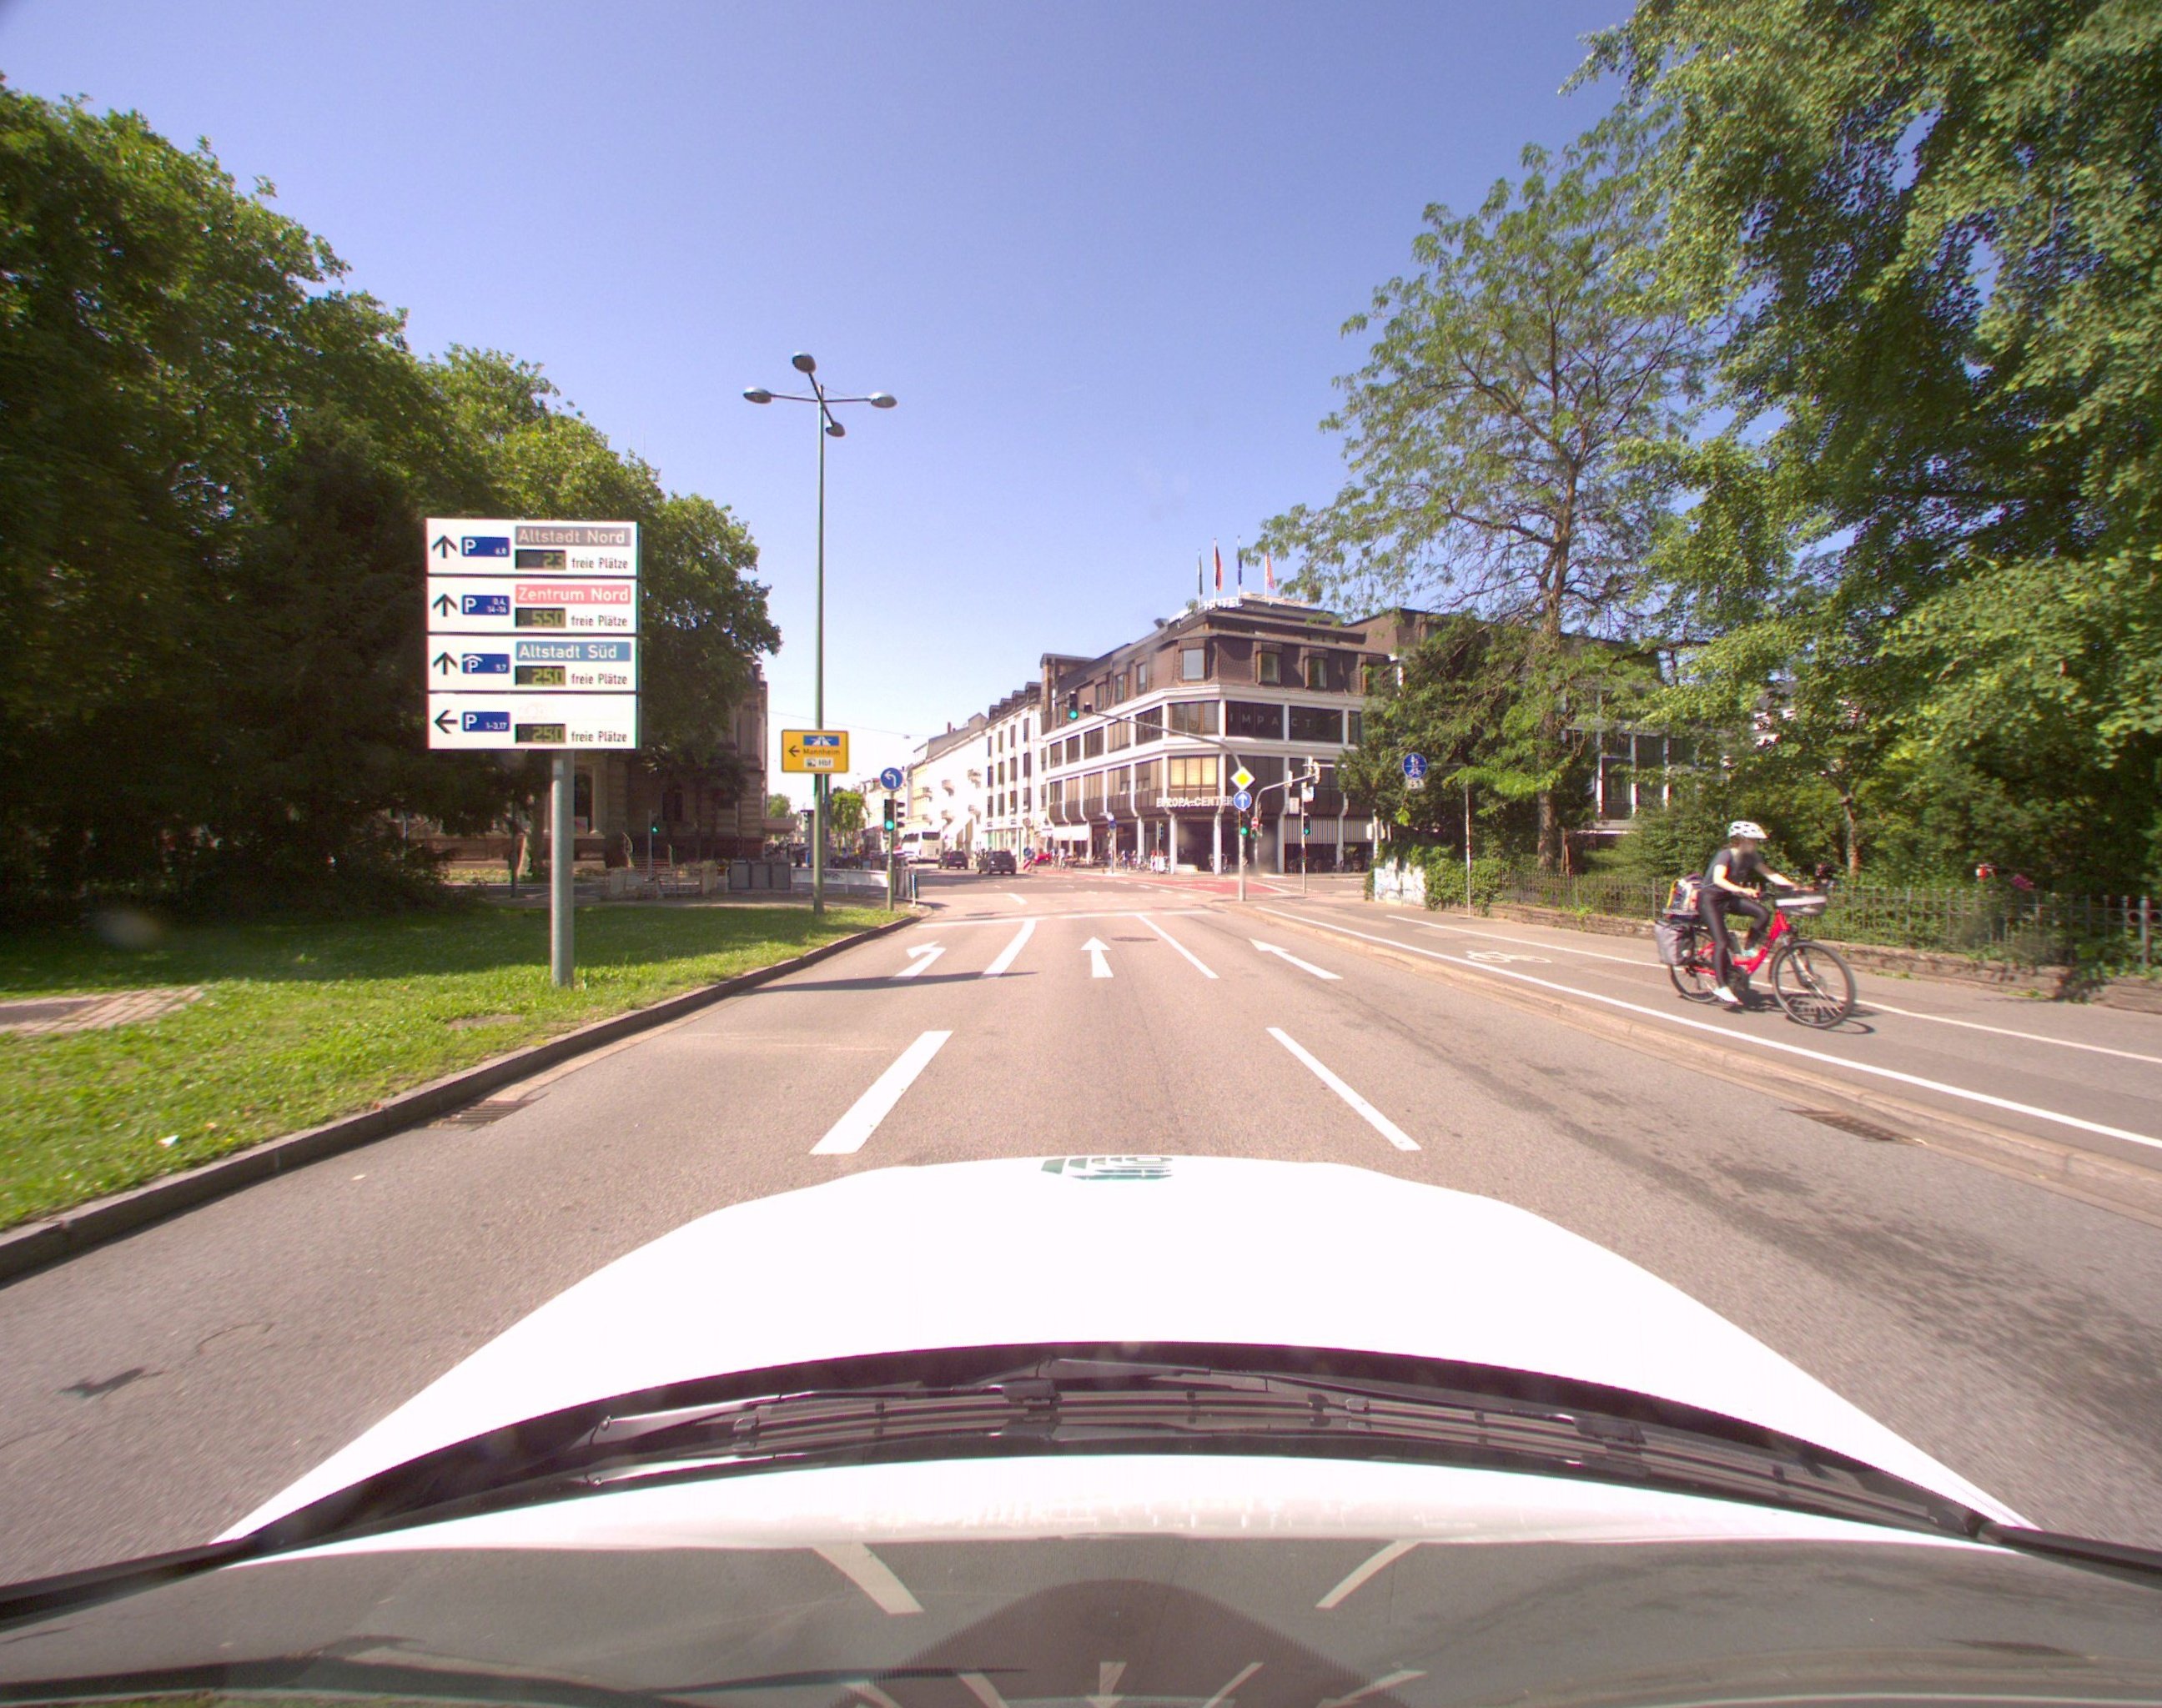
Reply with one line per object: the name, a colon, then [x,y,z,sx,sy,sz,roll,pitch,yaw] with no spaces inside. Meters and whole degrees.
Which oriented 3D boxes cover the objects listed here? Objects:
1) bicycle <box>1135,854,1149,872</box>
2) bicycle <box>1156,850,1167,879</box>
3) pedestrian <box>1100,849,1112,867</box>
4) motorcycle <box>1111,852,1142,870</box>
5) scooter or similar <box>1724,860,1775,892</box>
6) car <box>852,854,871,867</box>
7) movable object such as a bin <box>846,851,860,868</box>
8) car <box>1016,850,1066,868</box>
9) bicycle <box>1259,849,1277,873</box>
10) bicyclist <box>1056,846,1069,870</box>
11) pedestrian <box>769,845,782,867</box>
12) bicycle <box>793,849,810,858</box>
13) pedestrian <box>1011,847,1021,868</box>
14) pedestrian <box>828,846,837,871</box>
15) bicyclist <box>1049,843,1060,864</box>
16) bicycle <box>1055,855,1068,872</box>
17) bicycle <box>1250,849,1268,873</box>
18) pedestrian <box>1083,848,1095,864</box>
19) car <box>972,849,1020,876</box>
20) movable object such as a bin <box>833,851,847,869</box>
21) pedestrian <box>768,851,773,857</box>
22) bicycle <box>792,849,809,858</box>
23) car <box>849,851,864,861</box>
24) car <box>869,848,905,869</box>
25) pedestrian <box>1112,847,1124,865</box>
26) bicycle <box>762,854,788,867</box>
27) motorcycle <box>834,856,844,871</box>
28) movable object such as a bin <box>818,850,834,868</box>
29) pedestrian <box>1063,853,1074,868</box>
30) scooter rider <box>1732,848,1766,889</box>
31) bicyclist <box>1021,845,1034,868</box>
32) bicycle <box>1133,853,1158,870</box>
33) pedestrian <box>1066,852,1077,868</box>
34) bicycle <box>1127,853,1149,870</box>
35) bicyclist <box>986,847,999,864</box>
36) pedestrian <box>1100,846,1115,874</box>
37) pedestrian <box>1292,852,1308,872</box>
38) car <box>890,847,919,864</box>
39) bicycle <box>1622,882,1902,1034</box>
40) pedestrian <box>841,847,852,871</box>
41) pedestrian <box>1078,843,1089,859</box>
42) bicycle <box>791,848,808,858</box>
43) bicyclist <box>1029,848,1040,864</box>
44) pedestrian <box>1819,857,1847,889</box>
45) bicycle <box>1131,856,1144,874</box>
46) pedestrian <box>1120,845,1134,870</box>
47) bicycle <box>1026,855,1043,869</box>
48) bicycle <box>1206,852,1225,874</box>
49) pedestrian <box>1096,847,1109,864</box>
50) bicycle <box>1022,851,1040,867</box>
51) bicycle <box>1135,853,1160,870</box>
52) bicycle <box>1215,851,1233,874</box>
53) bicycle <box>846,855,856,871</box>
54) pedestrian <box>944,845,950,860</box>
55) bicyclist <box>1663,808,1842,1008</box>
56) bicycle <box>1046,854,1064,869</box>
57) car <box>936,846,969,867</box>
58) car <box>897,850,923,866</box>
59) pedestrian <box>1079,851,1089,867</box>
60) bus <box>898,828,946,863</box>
bicycle: [4.142,0.599,54.995,0.277,1.120,2.233,0,1,-13]
bicycle: [5.174,0.672,52.212,0.373,1.484,1.061,-3,-28,20]
pedestrian: [2.007,0.330,65.878,0.714,1.396,0.691,-1,-1,-22]
motorcycle: [3.404,0.488,60.343,2.224,1.290,0.950,-1,-1,6]
scooter or similar: [28.373,0.926,34.580,1.693,1.298,0.817,-1,-1,-15]
car: [-27.092,0.806,100.369,1.870,1.441,3.970,0,-1,-22]
movable object such as a bin: [-19.973,0.488,71.470,1.126,1.450,1.431,2,1,-16]
car: [-3.585,0.428,73.108,4.058,1.495,1.829,-1,-2,-20]
bicycle: [11.860,0.426,51.615,0.524,1.422,1.979,0,2,30]
bicyclist: [-1.318,0.274,57.860,0.695,1.625,0.832,-1,0,-13]
pedestrian: [-25.677,0.166,68.479,0.782,1.773,1.000,0,0,-6]
bicycle: [-37.597,-0.029,109.475,2.072,1.130,0.613,2,-1,-21]
pedestrian: [-5.604,0.297,69.971,0.622,1.719,0.830,0,0,-20]
pedestrian: [-17.270,0.325,56.565,0.549,1.665,0.933,-1,-1,-13]
bicyclist: [-1.978,-0.016,61.018,0.622,1.529,0.863,0,0,-21]
bicycle: [-1.400,0.667,57.997,0.595,1.120,1.793,0,1,-13]
bicycle: [11.378,0.424,51.956,0.524,1.422,1.979,0,2,30]
pedestrian: [0.672,0.197,70.399,0.880,1.368,0.533,2,-1,-23]
car: [-5.436,0.538,51.659,1.841,1.527,3.969,-2,0,-23]
movable object such as a bin: [-21.059,0.502,71.150,1.126,1.450,1.431,2,1,-16]
pedestrian: [-40.218,0.011,105.382,0.568,0.809,0.769,5,-1,-21]
bicycle: [-37.933,-0.033,110.159,2.077,1.130,0.459,2,-1,-29]
car: [-35.841,0.286,129.744,1.870,1.441,3.971,-1,1,-22]
car: [-13.545,0.281,56.653,1.943,1.354,4.221,-1,1,-20]
pedestrian: [2.936,0.177,64.005,0.714,1.396,0.691,-1,-1,-22]
bicycle: [-25.583,0.515,68.043,2.012,1.062,0.491,0,0,1]
motorcycle: [-16.846,0.674,56.711,0.454,0.998,2.152,1,-1,-12]
movable object such as a bin: [-22.212,0.418,70.940,1.211,1.450,1.357,2,1,-16]
pedestrian: [-1.035,0.516,66.093,0.712,1.173,0.693,-1,-1,-13]
scooter rider: [28.373,0.613,34.590,0.708,1.672,0.820,-1,-1,-13]
bicyclist: [-3.982,0.165,60.761,0.697,1.673,0.909,2,1,-20]
bicycle: [4.454,0.515,56.405,1.720,1.120,0.276,-2,1,-15]
pedestrian: [-0.756,0.480,65.289,0.712,1.217,0.693,-1,-1,-13]
bicycle: [3.975,0.530,56.777,1.573,1.120,0.276,-2,1,-15]
bicyclist: [-8.295,0.157,76.190,0.986,1.599,1.048,0,0,-22]
pedestrian: [1.757,0.379,53.952,0.833,1.836,0.693,-1,-1,-13]
pedestrian: [14.679,0.541,54.552,0.818,1.334,0.978,0,0,32]
car: [-15.493,0.072,71.396,1.870,1.441,3.971,0,1,-22]
bicycle: [5.900,0.829,7.262,0.755,1.120,2.000,-1,-1,-2]
pedestrian: [-16.235,0.343,56.370,0.696,1.695,0.686,-1,-1,-19]
pedestrian: [0.234,-0.283,71.294,0.747,1.367,0.580,0,0,-23]
bicycle: [-38.988,-0.125,112.829,2.081,1.219,0.751,3,-1,-38]
bicyclist: [-3.774,0.159,66.363,0.623,1.296,0.860,0,0,-23]
pedestrian: [30.273,0.767,32.800,0.452,1.270,0.713,0,0,-10]
bicycle: [3.789,0.733,54.823,0.277,1.120,2.233,0,1,-13]
pedestrian: [3.178,0.235,56.273,0.833,1.663,0.693,-1,-1,-13]
bicycle: [-3.766,0.645,66.334,0.623,1.099,2.335,0,0,-23]
bicycle: [8.407,0.529,50.808,0.524,1.316,1.979,0,2,30]
pedestrian: [1.765,0.141,66.688,0.816,1.396,0.691,0,-1,-24]
bicycle: [-3.713,0.379,60.597,0.667,1.120,2.228,2,1,-21]
bicycle: [4.557,0.531,56.023,1.720,1.120,0.276,-2,1,-15]
bicycle: [8.888,0.517,50.603,0.524,1.316,1.871,0,2,30]
bicycle: [-16.022,0.631,56.741,0.429,1.120,2.235,1,-2,-10]
pedestrian: [-16.694,-0.195,101.549,0.575,1.778,1.013,0,-1,-19]
bicyclist: [5.894,0.449,7.214,0.762,1.636,0.942,-1,-1,-2]
bicycle: [-1.964,0.549,60.957,0.622,1.099,2.336,0,0,-21]
car: [-10.180,0.234,64.454,1.839,1.527,3.973,-2,0,-20]
car: [-17.428,0.419,82.849,1.840,1.527,3.971,-2,0,-22]
pedestrian: [0.287,0.411,70.736,0.764,1.367,0.474,0,0,-23]
bus: [-18.292,-0.955,92.888,2.893,3.742,12.334,2,0,-22]
